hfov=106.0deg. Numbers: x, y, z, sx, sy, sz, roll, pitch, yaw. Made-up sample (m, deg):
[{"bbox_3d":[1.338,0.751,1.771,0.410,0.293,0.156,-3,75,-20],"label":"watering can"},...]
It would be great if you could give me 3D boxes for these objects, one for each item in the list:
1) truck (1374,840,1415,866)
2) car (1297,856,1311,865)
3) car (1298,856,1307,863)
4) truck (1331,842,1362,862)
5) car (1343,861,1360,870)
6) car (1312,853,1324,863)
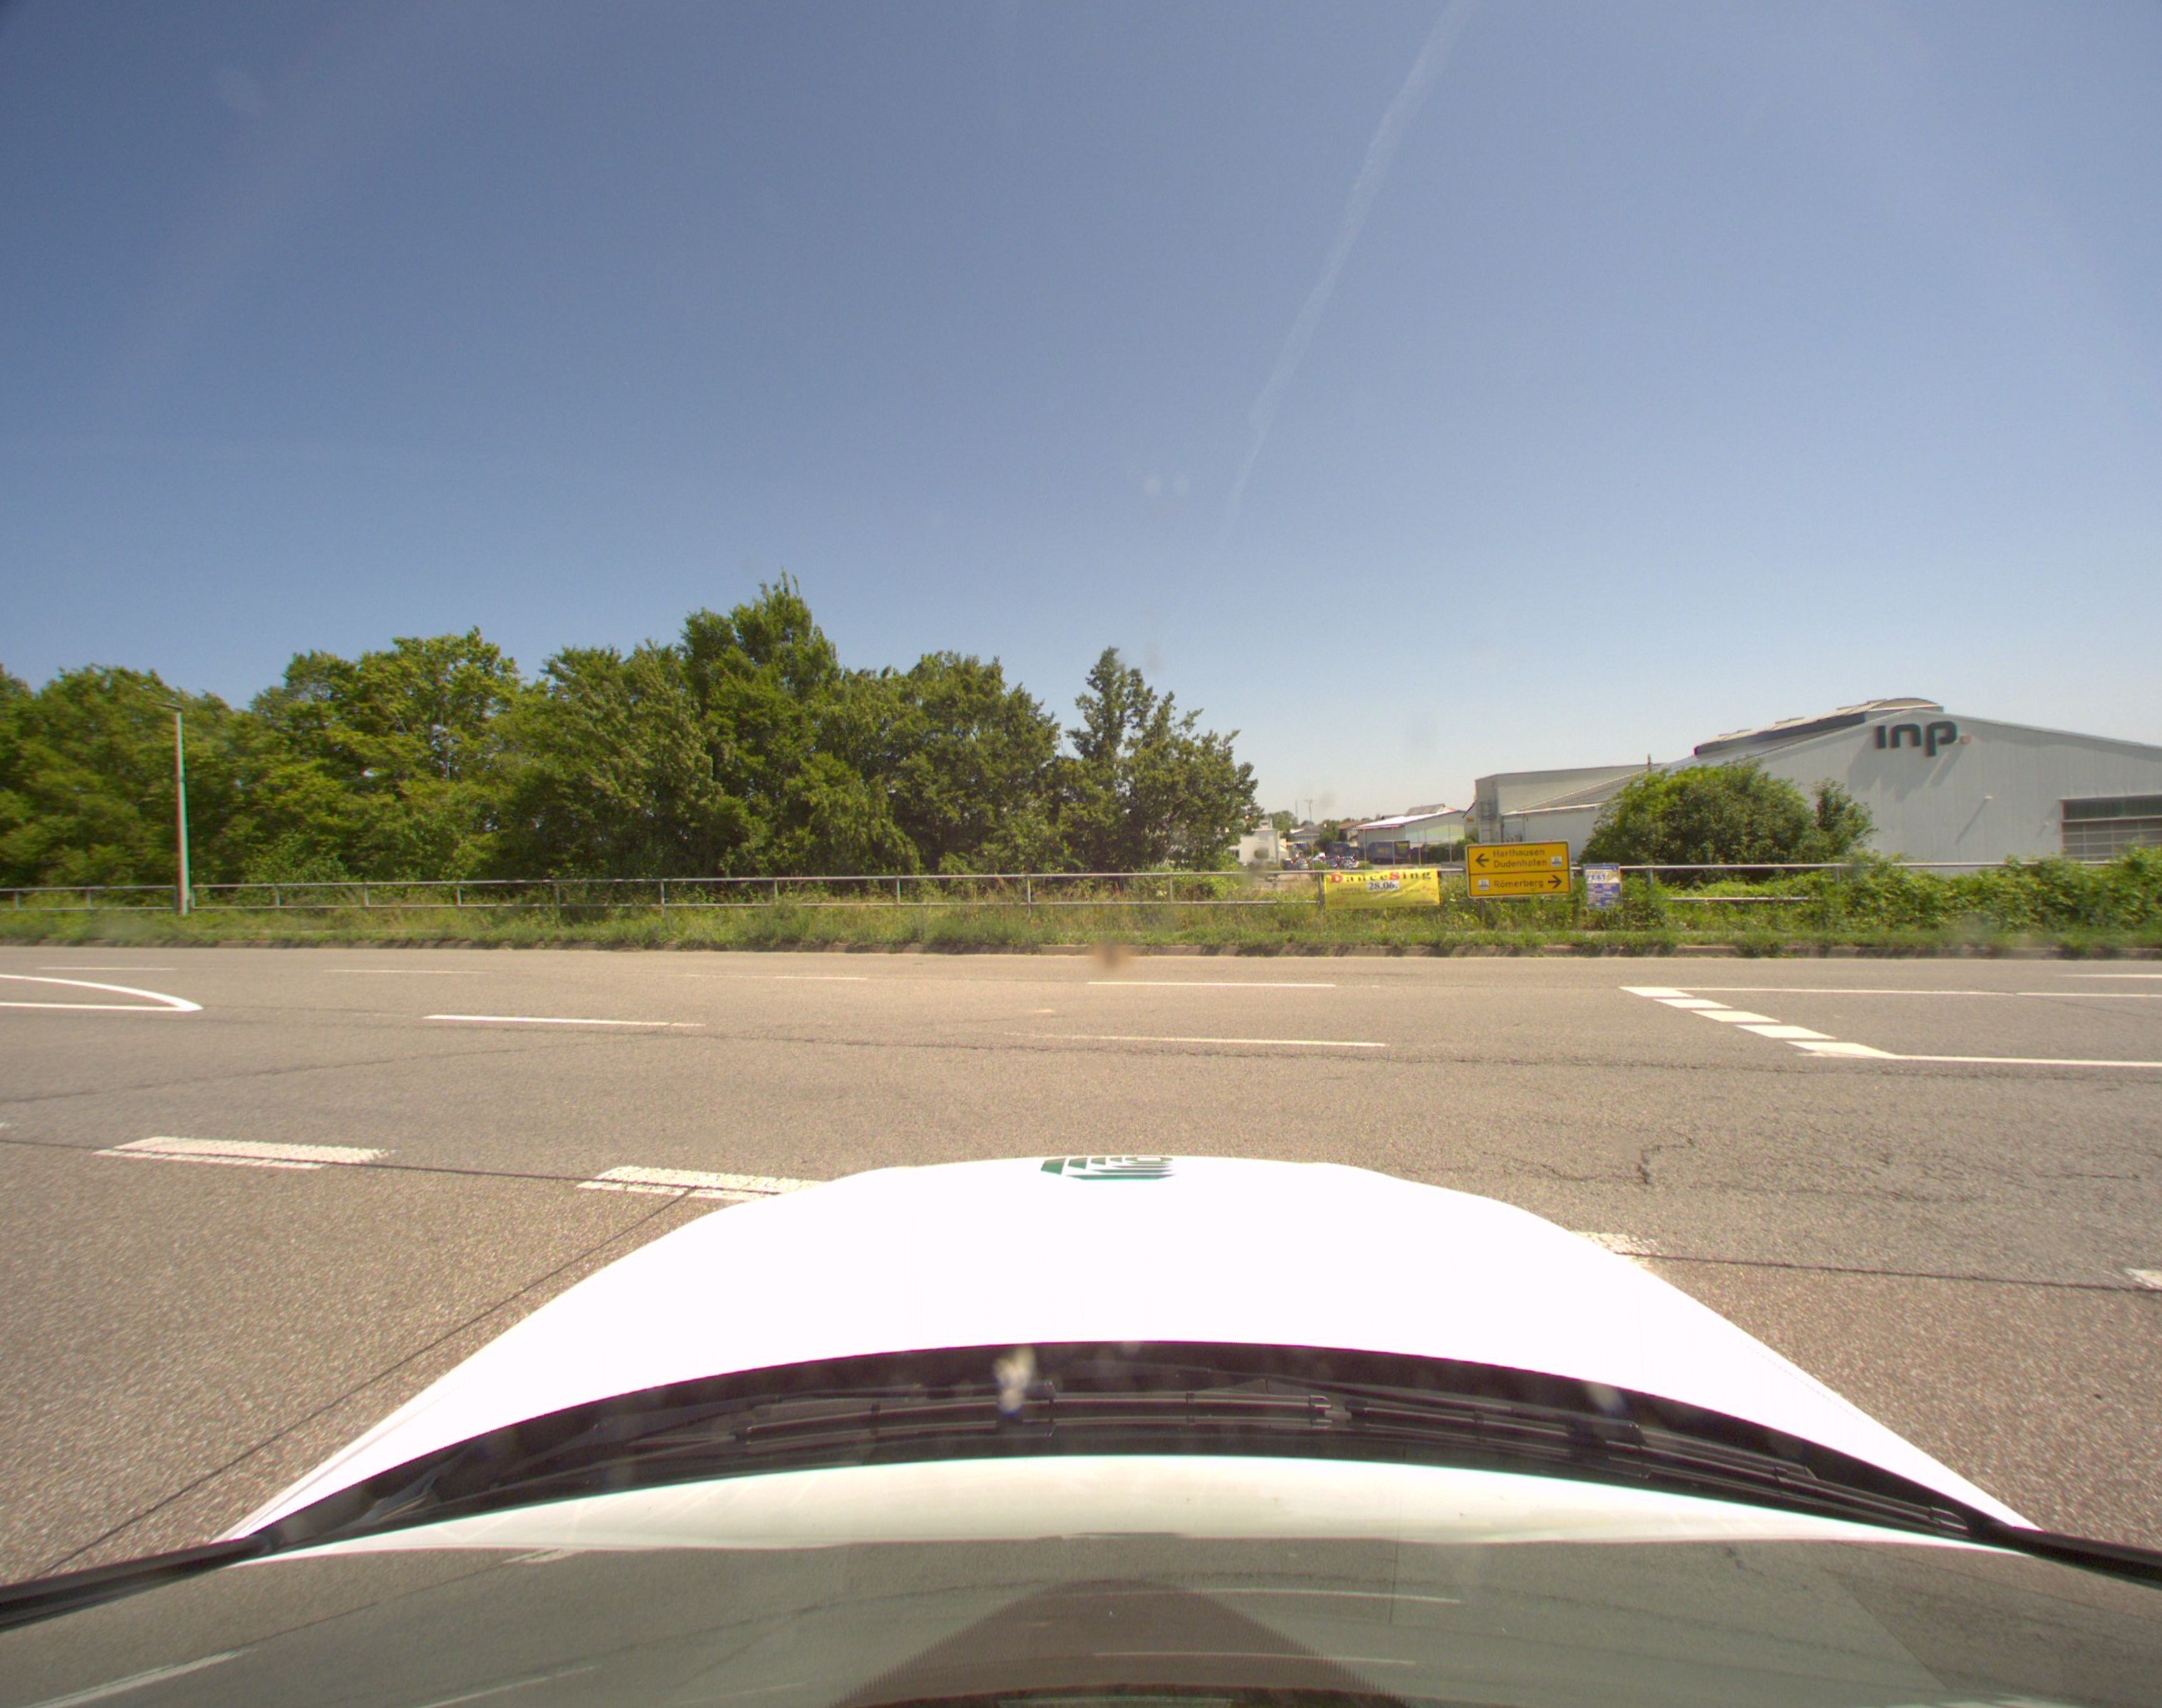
[{"bbox_3d":[55.491,-0.204,144.724,3.688,4.311,13.370,-1,0,8],"label":"truck"},{"bbox_3d":[45.070,1.328,164.750,1.984,1.731,4.871,-1,0,5],"label":"car"},{"bbox_3d":[47.171,1.108,173.473,1.444,1.350,3.320,-2,0,5],"label":"car"},{"bbox_3d":[58.317,-0.462,179.370,3.394,4.311,14.620,-1,0,7],"label":"truck"},{"bbox_3d":[43.240,1.824,130.234,1.675,1.363,3.842,-4,0,6],"label":"car"},{"bbox_3d":[49.515,0.781,170.032,1.708,2.013,4.007,-2,0,6],"label":"car"}]
